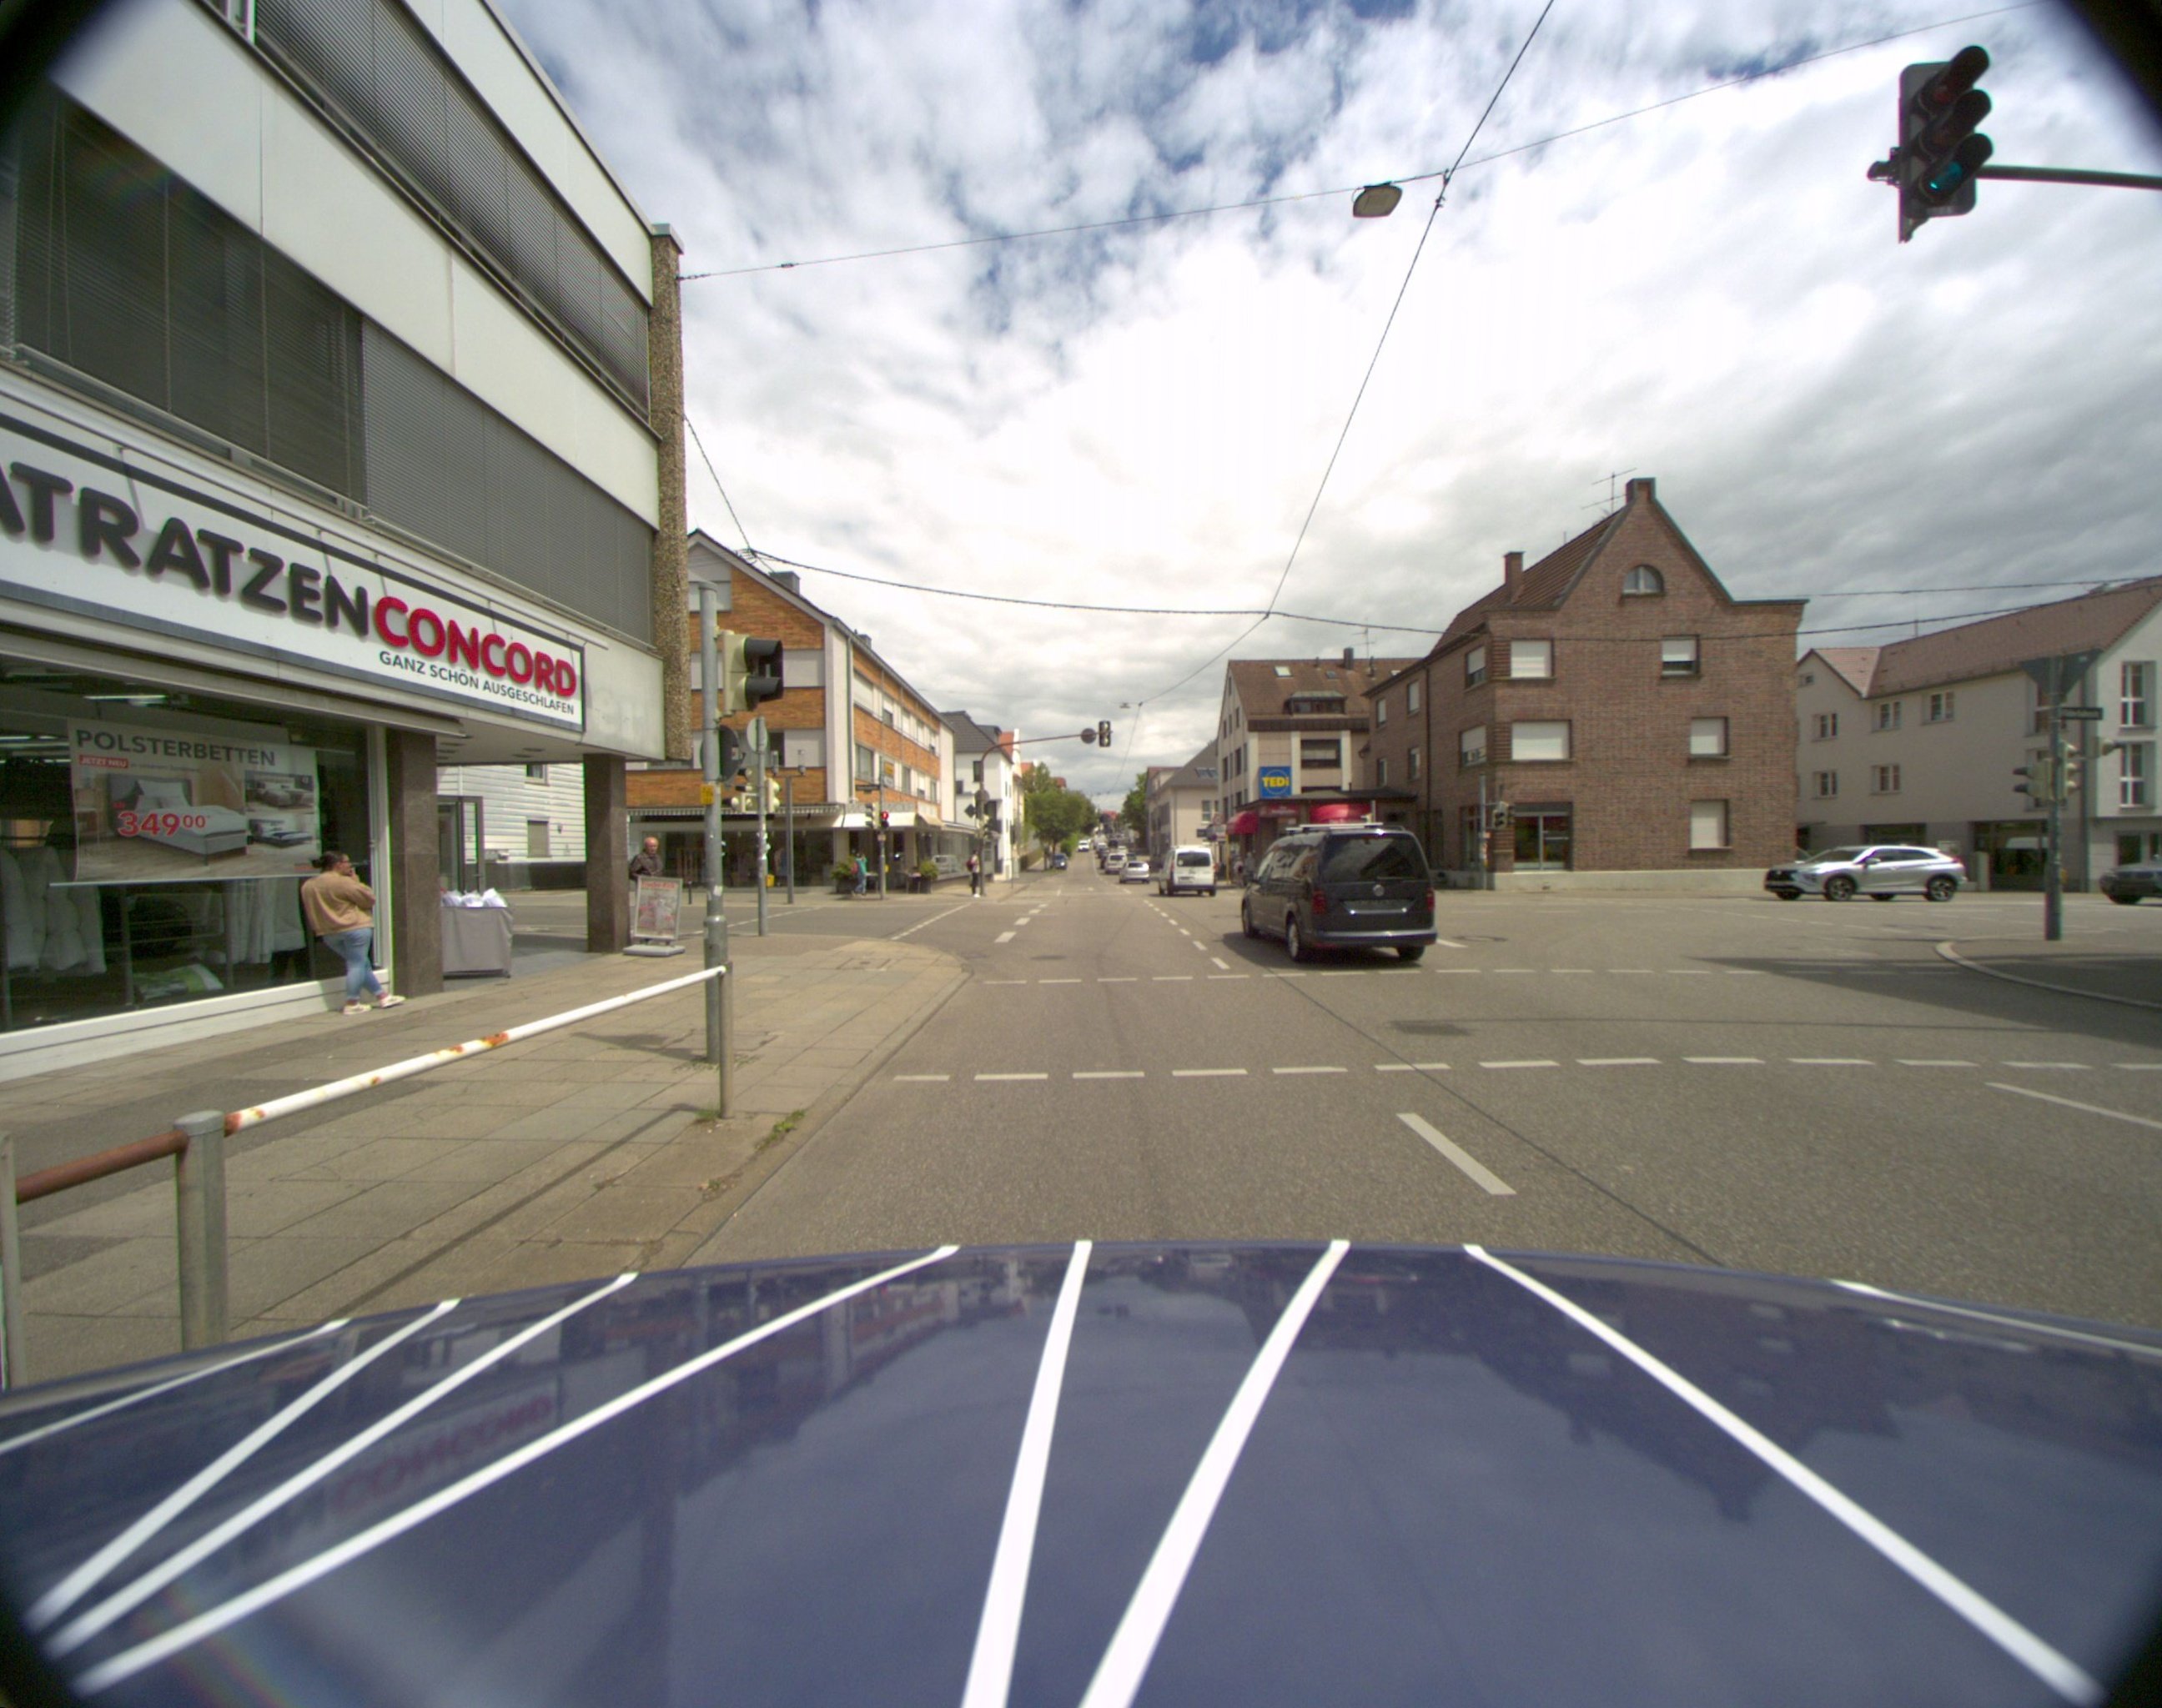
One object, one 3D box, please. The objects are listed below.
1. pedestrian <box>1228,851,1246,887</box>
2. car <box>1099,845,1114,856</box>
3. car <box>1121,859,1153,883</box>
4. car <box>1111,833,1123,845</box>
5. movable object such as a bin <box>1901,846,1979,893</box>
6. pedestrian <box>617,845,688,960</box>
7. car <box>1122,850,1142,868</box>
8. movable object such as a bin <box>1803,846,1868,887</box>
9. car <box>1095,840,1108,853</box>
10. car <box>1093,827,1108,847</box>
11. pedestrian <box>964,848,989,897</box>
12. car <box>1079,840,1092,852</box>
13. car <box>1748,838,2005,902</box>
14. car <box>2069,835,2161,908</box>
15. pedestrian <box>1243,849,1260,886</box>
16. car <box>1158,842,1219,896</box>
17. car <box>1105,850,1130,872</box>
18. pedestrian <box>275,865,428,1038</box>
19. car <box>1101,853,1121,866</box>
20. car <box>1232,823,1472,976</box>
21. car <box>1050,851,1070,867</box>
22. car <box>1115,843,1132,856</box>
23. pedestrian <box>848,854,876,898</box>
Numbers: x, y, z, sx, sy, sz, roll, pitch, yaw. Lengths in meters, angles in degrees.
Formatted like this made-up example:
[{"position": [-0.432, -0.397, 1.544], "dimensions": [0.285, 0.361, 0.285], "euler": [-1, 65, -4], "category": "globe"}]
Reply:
[{"position": [7.298, 0.703, 35.533], "dimensions": [0.779, 1.685, 0.796], "euler": [0, 1, 7], "category": "pedestrian"}, {"position": [3.606, -0.481, 107.331], "dimensions": [1.858, 1.414, 4.192], "euler": [0, 0, -1], "category": "car"}, {"position": [3.656, 1.107, 50.214], "dimensions": [1.757, 1.478, 3.970], "euler": [0, 0, -1], "category": "car"}, {"position": [6.830, -2.817, 143.814], "dimensions": [2.111, 2.109, 4.765], "euler": [0, 1, 0], "category": "car"}, {"position": [31.384, 0.543, 27.790], "dimensions": [1.519, 1.615, 1.145], "euler": [-2, 1, 4], "category": "movable object such as a bin"}, {"position": [-6.521, 0.703, 11.559], "dimensions": [0.799, 1.661, 0.805], "euler": [0, 1, -40], "category": "pedestrian"}, {"position": [6.214, 0.573, 93.132], "dimensions": [2.111, 2.109, 4.765], "euler": [-1, 0, 0], "category": "car"}, {"position": [31.244, 0.511, 31.504], "dimensions": [1.519, 1.615, 1.145], "euler": [-2, 1, 4], "category": "movable object such as a bin"}, {"position": [3.185, -1.220, 120.474], "dimensions": [1.858, 1.957, 4.192], "euler": [0, 0, -1], "category": "car"}, {"position": [3.446, -2.995, 136.859], "dimensions": [2.428, 3.409, 7.636], "euler": [0, 0, -1], "category": "car"}, {"position": [-3.918, 0.671, 28.484], "dimensions": [0.581, 1.820, 0.882], "euler": [1, 1, 17], "category": "pedestrian"}, {"position": [0.780, -1.318, 127.763], "dimensions": [2.000, 1.797, 4.765], "euler": [2, 0, -1], "category": "car"}, {"position": [23.211, 0.468, 22.345], "dimensions": [5.255, 1.758, 2.001], "euler": [0, 0, 4], "category": "car"}, {"position": [28.140, 0.413, 18.945], "dimensions": [4.348, 1.744, 2.000], "euler": [0, 0, 1], "category": "car"}, {"position": [7.939, 0.626, 35.418], "dimensions": [0.683, 1.706, 0.878], "euler": [0, 1, 7], "category": "pedestrian"}, {"position": [4.053, 0.546, 29.103], "dimensions": [1.819, 1.919, 4.112], "euler": [0, 0, 1], "category": "car"}, {"position": [3.337, 0.619, 70.635], "dimensions": [1.982, 1.985, 5.027], "euler": [0, 0, -1], "category": "car"}, {"position": [-6.657, 0.856, 6.971], "dimensions": [0.681, 1.490, 0.720], "euler": [0, 1, 1], "category": "pedestrian"}, {"position": [3.230, 0.599, 82.770], "dimensions": [1.858, 1.371, 4.271], "euler": [0, 0, -1], "category": "car"}, {"position": [3.796, 0.546, 11.737], "dimensions": [1.953, 1.866, 4.876], "euler": [0, 0, 0], "category": "car"}, {"position": [-2.230, 0.490, 81.610], "dimensions": [1.998, 1.654, 4.000], "euler": [0, 0, 1], "category": "car"}, {"position": [6.167, -0.643, 110.828], "dimensions": [2.111, 1.778, 4.529], "euler": [-1, 0, 0], "category": "car"}, {"position": [-7.552, 0.745, 26.189], "dimensions": [0.819, 1.517, 0.779], "euler": [0, 1, -10], "category": "pedestrian"}]
